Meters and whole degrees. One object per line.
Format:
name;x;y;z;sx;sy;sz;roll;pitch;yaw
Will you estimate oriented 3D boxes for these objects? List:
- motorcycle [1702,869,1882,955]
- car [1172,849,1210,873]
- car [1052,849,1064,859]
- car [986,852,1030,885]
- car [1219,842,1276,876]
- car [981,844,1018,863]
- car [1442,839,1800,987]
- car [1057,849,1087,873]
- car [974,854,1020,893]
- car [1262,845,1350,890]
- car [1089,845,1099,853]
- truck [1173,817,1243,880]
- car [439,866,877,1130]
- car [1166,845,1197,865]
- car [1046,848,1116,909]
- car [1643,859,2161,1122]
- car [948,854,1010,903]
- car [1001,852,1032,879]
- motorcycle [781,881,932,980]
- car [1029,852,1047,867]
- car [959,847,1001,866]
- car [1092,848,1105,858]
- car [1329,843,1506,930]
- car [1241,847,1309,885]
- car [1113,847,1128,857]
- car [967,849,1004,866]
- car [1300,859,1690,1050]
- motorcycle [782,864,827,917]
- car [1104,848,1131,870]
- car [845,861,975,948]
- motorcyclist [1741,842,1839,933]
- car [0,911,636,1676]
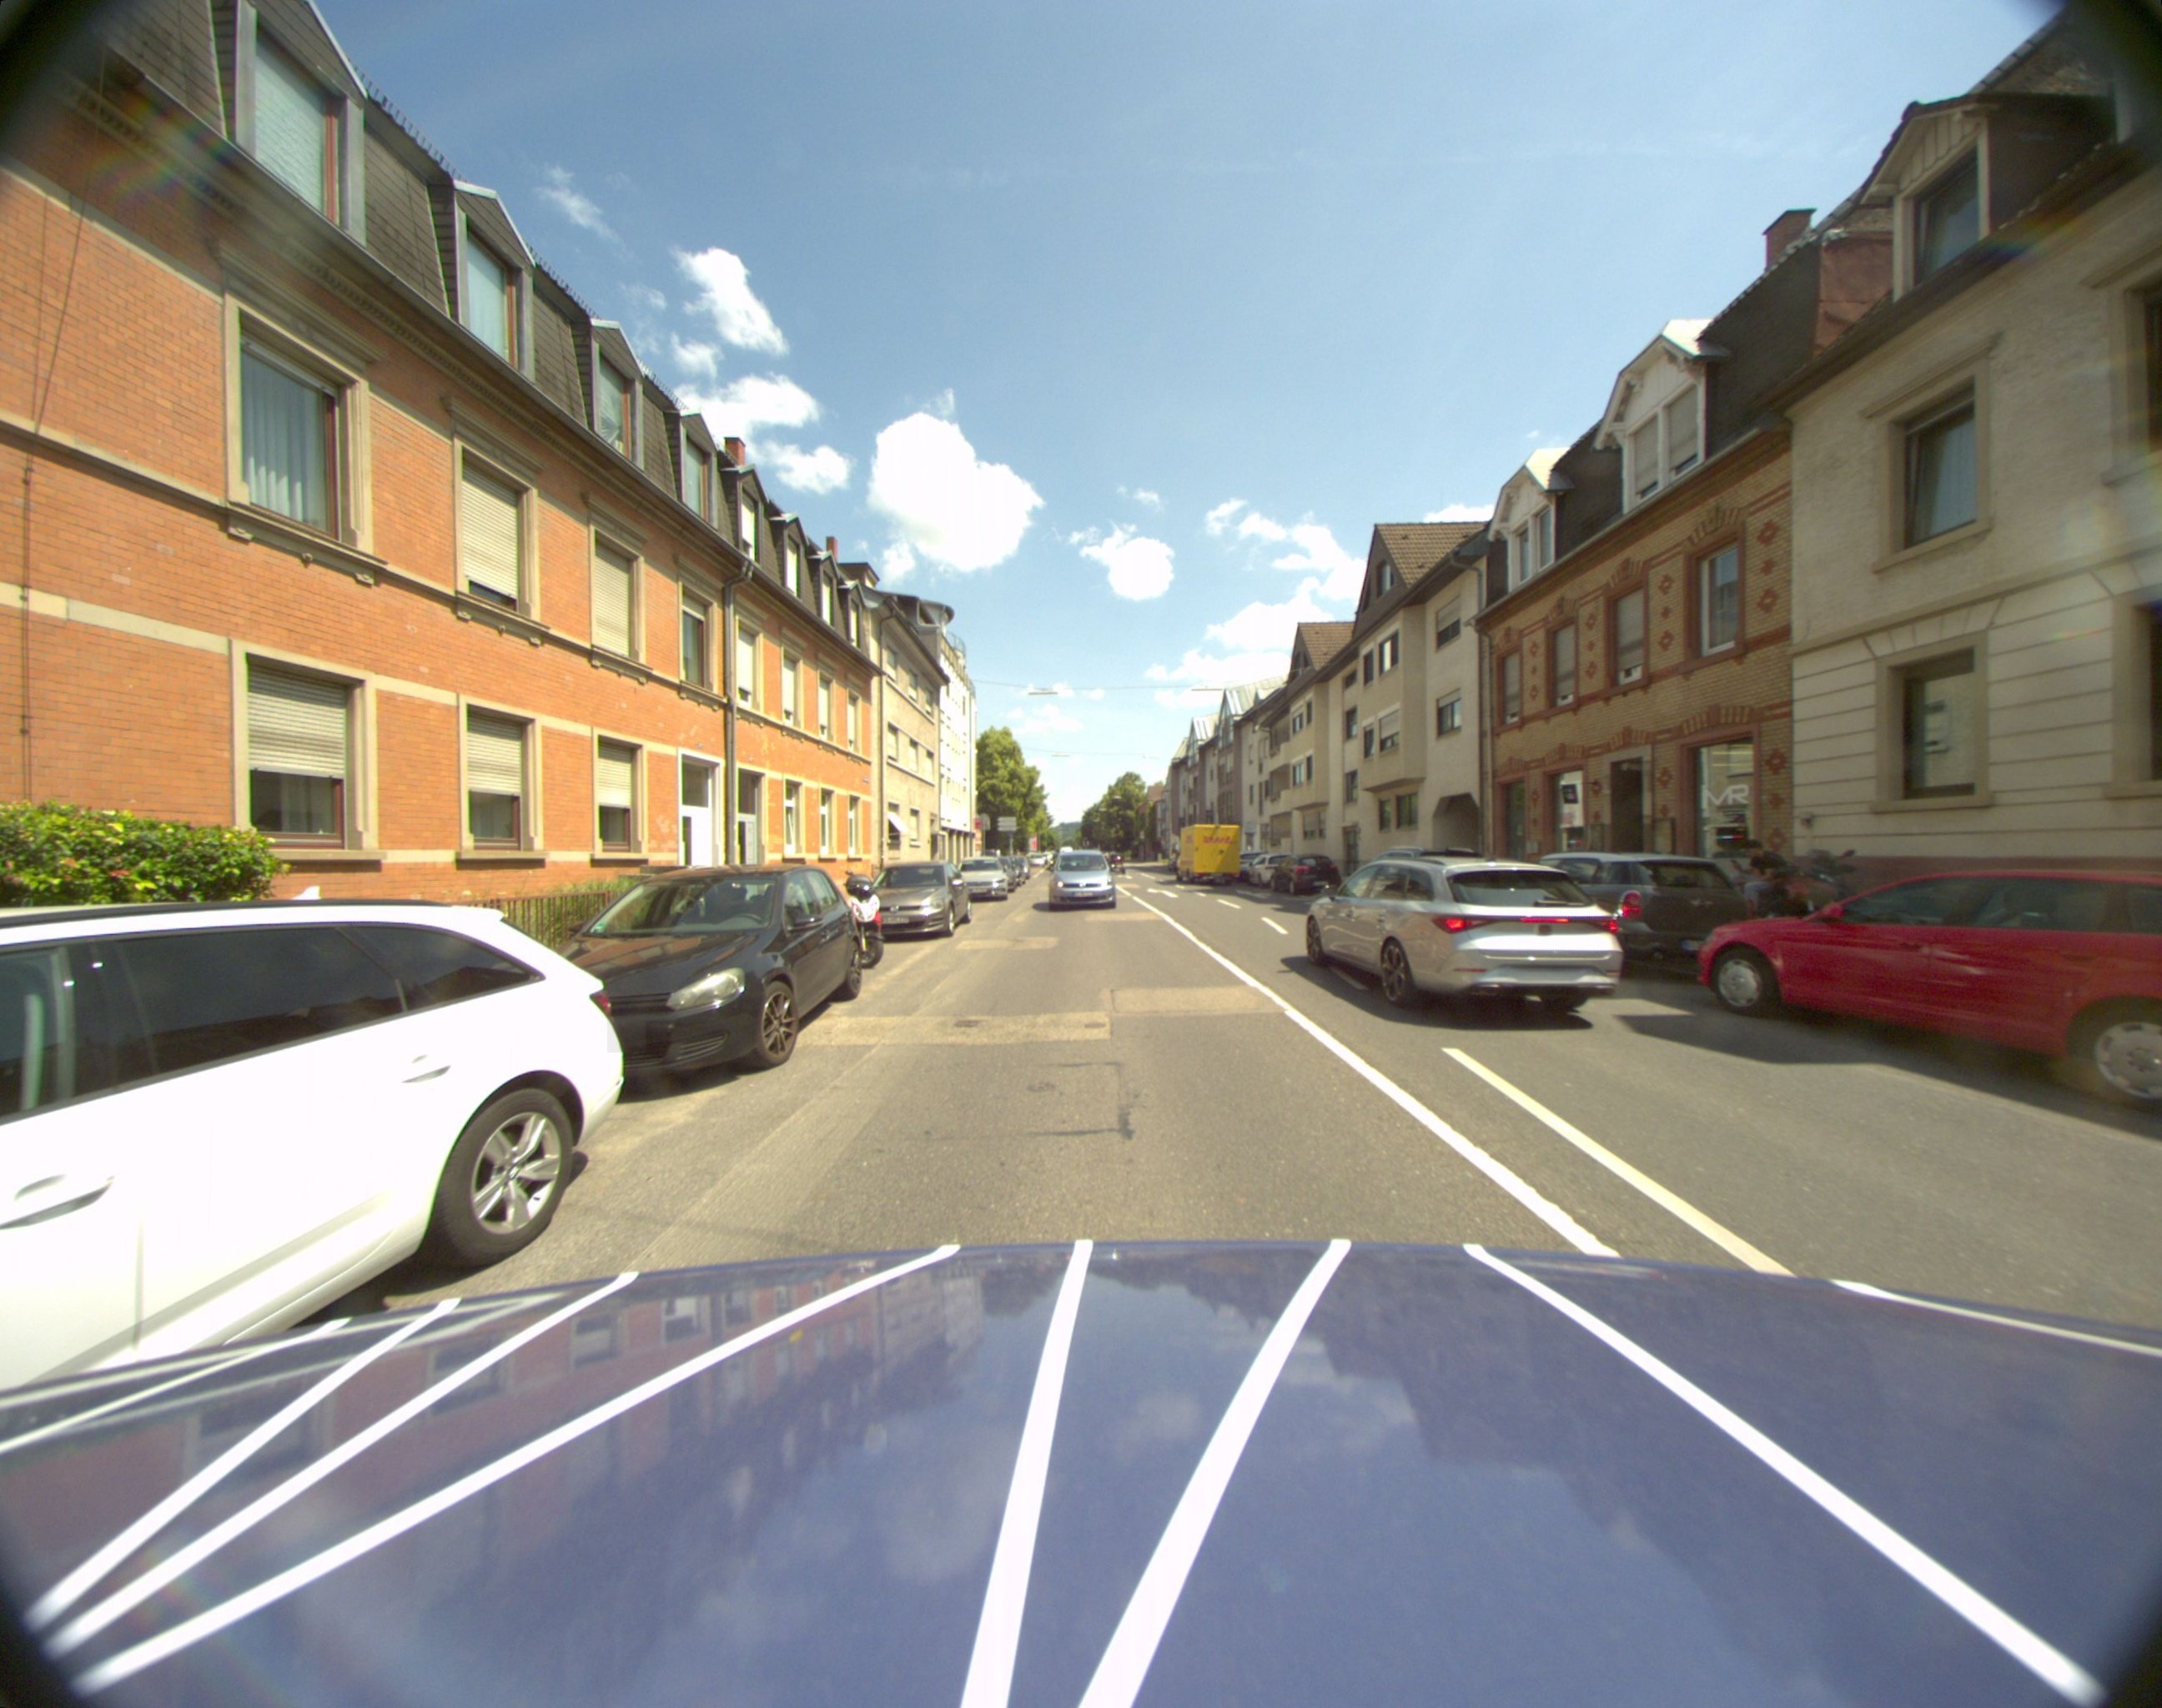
motorcycle;10.109;0.780;10.920;0.847;1.072;1.871;-1;1;1
car;7.714;0.463;53.770;1.845;1.480;4.385;-3;1;-2
car;-3.814;0.009;125.618;1.868;1.516;4.207;-2;1;-1
car;-3.509;0.673;37.085;1.716;1.464;4.437;-1;1;0
car;8.655;0.233;39.917;1.844;1.586;4.385;-3;1;-1
car;-10.819;-0.122;100.671;4.614;2.263;2.105;-3;1;-1
car;7.143;0.631;10.804;1.844;1.587;4.501;2;1;1
car;-0.617;0.445;55.247;1.998;1.652;4.625;0;1;2
car;-3.383;0.753;31.114;1.656;1.412;4.047;-1;1;-3
car;8.407;0.457;28.820;1.844;1.479;4.501;-3;1;-1
car;2.270;-0.855;135.120;1.747;1.411;4.223;0;1;1
truck;6.099;-0.283;37.596;2.231;2.755;7.563;1;1;0
car;-3.127;0.894;6.824;1.653;1.406;4.499;-2;1;-4
car;8.374;0.049;63.505;1.844;1.439;4.968;-3;1;0
car;-0.051;0.594;21.298;1.747;1.513;4.222;-1;1;-1
car;6.962;0.825;5.790;1.845;1.414;4.501;3;0;-2
car;-3.436;0.763;26.040;1.859;1.455;4.547;-2;1;-6
car;-3.859;0.674;45.889;1.682;1.446;4.141;-3;1;-3
motorcycle;-3.254;1.036;10.957;1.991;1.218;1.115;-2;1;40
car;-4.618;0.559;81.526;1.772;1.477;3.889;-2;1;-3
car;-10.130;0.266;76.280;3.998;1.741;2.016;-2;1;-2
car;2.718;-0.143;118.402;1.817;1.611;4.440;0;0;-2
car;7.043;0.580;16.498;1.844;1.587;4.501;1;1;1
car;8.560;0.471;33.932;1.844;1.479;4.385;-3;1;0
car;6.307;-0.335;122.553;1.891;1.531;4.566;-1;1;-3
car;-9.931;0.357;78.937;3.774;1.657;1.663;-1;1;-6
car;3.849;0.803;8.089;1.795;1.412;4.314;0;1;0
motorcycle;-6.835;0.884;18.841;0.597;1.218;1.361;-1;1;0
car;2.539;0.345;52.941;1.501;1.451;2.721;-1;1;-6
car;-3.245;0.899;15.258;1.705;1.373;4.165;-2;1;-1
motorcyclist;10.051;0.461;10.799;0.720;1.241;0.712;-1;1;0
car;-3.114;1.012;1.434;1.720;1.406;4.589;0;1;2
